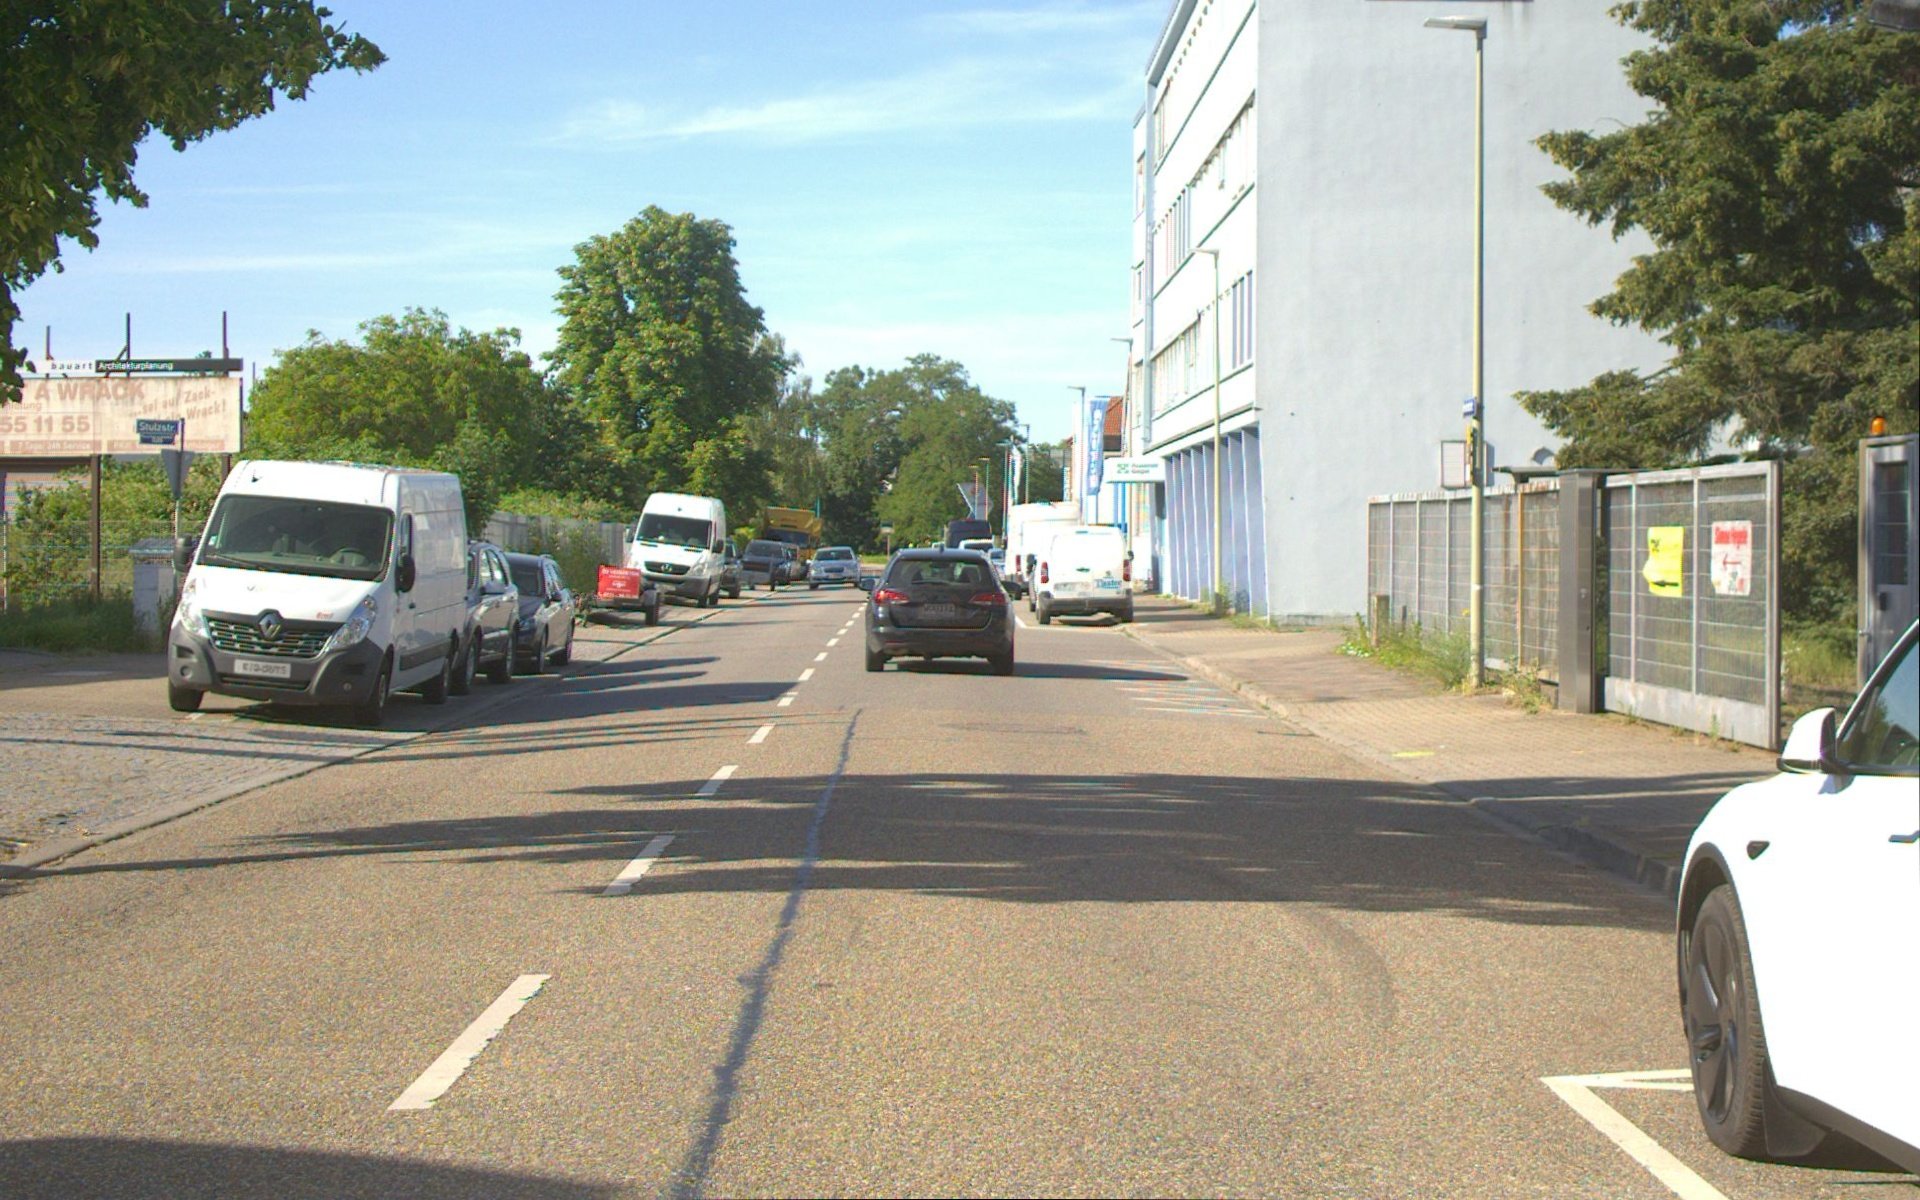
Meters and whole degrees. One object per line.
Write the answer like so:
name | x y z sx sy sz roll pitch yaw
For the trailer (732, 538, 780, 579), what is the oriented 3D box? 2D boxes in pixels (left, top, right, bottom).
trailer | -6.977 -1.417 117.949 1.476 1.349 3.079 2 1 -1

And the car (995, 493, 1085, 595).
car | 2.102 -1.554 92.176 1.993 2.589 6.052 -1 2 -2

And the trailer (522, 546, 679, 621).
trailer | -6.715 -0.336 64.834 2.376 1.076 6.246 4 2 -1

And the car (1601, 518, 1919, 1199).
car | 2.839 0.651 7.167 1.931 1.639 4.770 0 1 -2

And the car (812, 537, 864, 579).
car | -4.322 -1.516 122.272 1.747 1.442 4.361 0 1 -1

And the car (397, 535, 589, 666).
car | -6.110 -0.037 45.520 1.799 1.505 5.003 4 1 0

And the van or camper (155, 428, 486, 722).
van or camper | -6.297 -0.304 34.678 2.070 2.540 6.404 4 1 -1

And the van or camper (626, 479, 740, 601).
van or camper | -6.683 -1.472 83.455 1.966 2.676 5.948 5 1 1

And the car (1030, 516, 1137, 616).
car | 2.339 -0.668 66.351 1.889 1.826 5.090 1 1 0

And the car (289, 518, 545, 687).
car | -6.272 -0.019 40.236 1.994 1.732 4.574 4 1 2

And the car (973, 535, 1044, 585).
car | 1.433 -1.192 103.749 1.894 1.400 5.124 2 0 -1

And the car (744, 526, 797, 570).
car | -7.509 -2.085 136.368 1.791 1.725 4.802 0 1 1

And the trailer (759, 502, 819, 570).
trailer | -8.781 -3.269 177.000 2.991 3.431 8.162 0 1 -2

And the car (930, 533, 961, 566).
car | -0.914 -3.140 214.591 1.874 2.007 5.160 2 0 -1

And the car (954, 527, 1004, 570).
car | 0.786 -2.202 148.092 1.885 1.791 5.104 2 0 -2

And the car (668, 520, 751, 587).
car | -7.017 -1.328 96.717 2.030 1.688 5.107 4 1 -2

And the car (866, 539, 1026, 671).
car | -0.176 0.021 41.775 1.847 1.525 4.000 0 1 0
